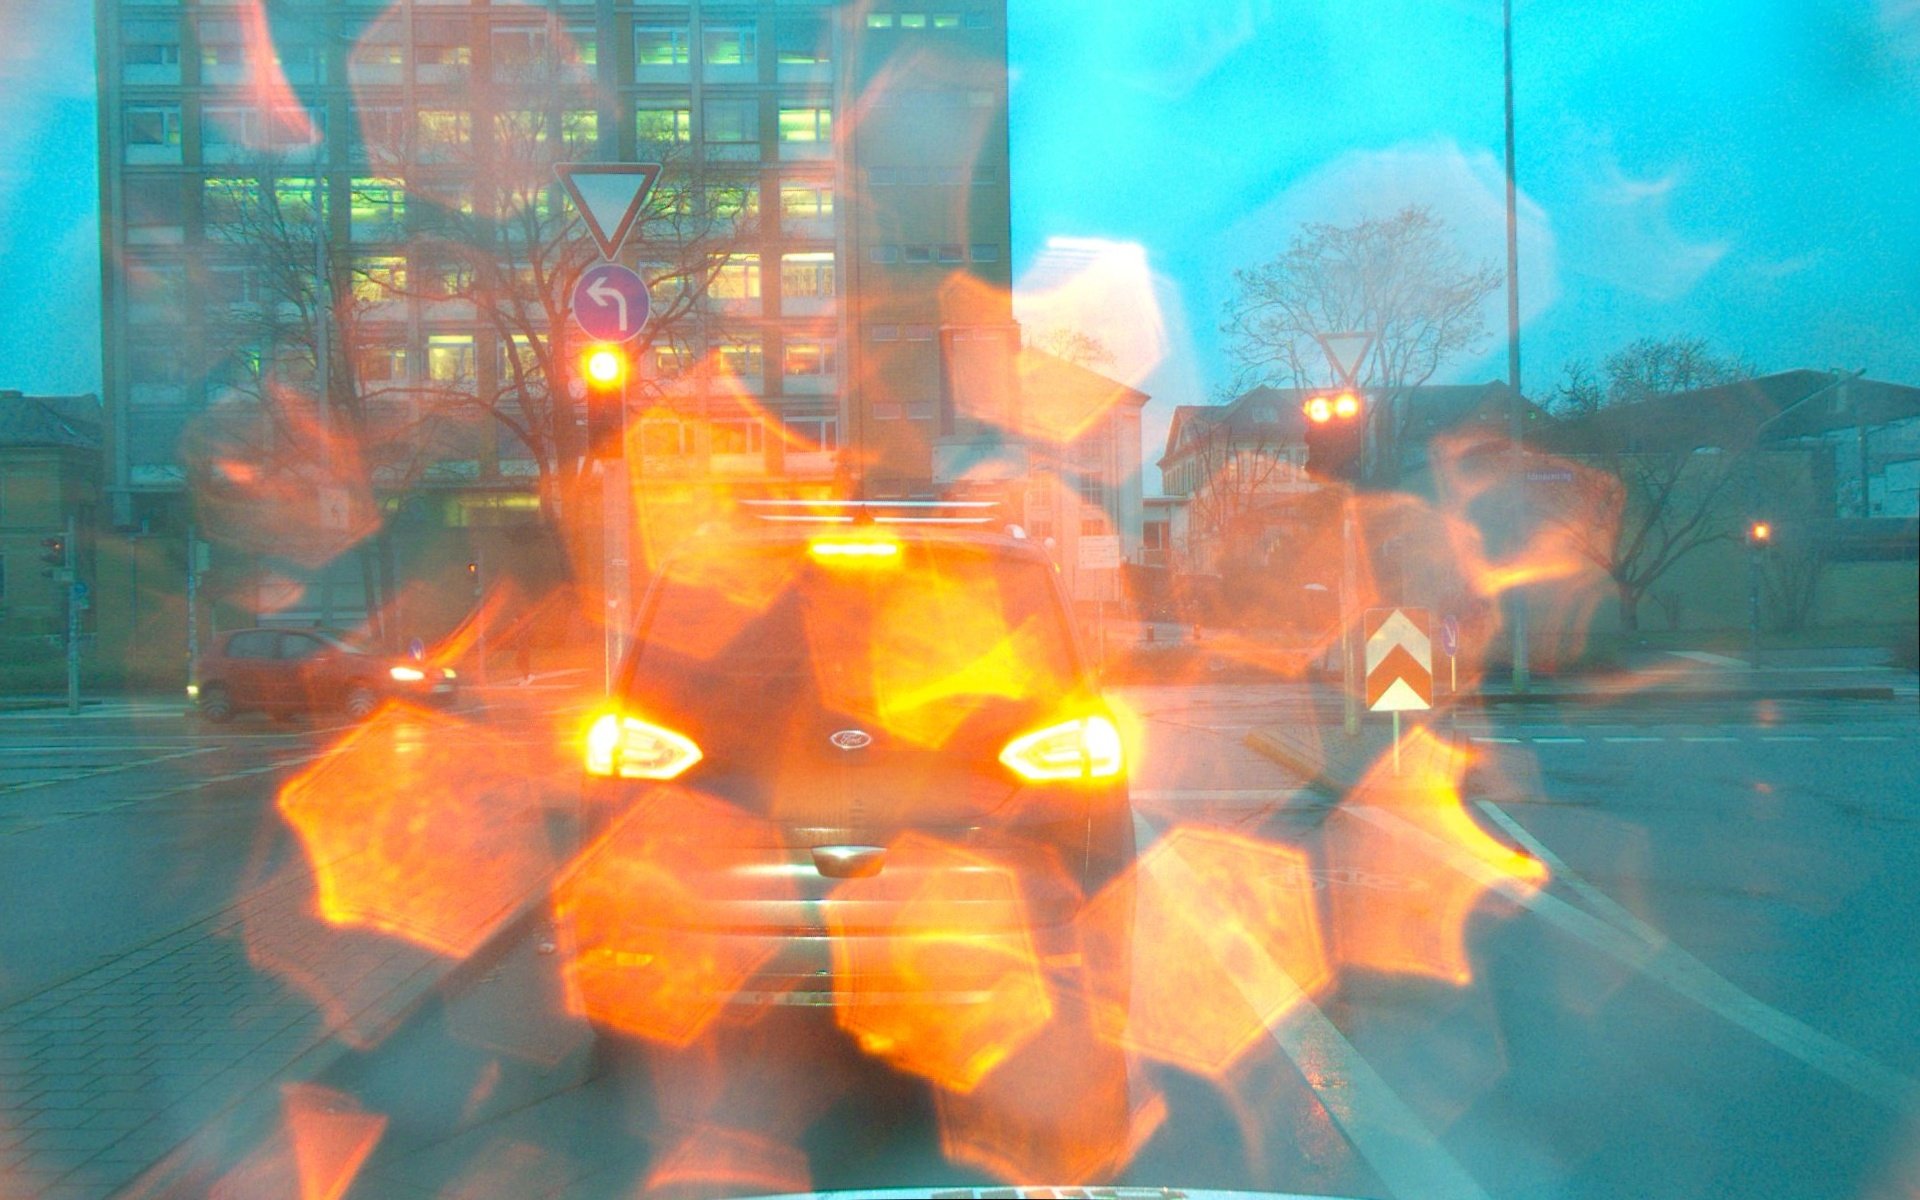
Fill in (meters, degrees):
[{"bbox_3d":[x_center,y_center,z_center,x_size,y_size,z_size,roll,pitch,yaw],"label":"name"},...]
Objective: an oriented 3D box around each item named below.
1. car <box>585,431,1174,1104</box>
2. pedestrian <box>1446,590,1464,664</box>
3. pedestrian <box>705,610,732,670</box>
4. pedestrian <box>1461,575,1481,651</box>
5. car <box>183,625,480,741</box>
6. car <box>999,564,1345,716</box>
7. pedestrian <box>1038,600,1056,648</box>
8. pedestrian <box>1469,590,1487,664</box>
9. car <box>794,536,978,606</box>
[{"bbox_3d":[-0.249,0.450,6.565,1.613,1.850,3.999,0,0,-1],"label":"car"},{"bbox_3d":[12.556,0.687,41.960,0.428,1.871,0.460,0,-2,17],"label":"pedestrian"},{"bbox_3d":[-6.796,1.129,46.561,0.632,1.695,0.563,0,-2,7],"label":"pedestrian"},{"bbox_3d":[12.665,0.330,41.001,0.448,1.871,0.439,0,-2,16],"label":"pedestrian"},{"bbox_3d":[-9.764,1.265,25.815,3.983,1.713,1.761,0,-2,12],"label":"car"},{"bbox_3d":[2.578,0.476,19.983,3.978,1.713,1.761,0,-2,11],"label":"car"},{"bbox_3d":[2.337,0.641,44.581,0.423,1.292,0.442,0,-2,11],"label":"pedestrian"},{"bbox_3d":[13.089,0.680,41.762,0.428,1.871,0.460,0,-2,18],"label":"pedestrian"},{"bbox_3d":[-2.230,-0.874,50.841,5.429,2.060,2.001,0,-2,5],"label":"car"}]
